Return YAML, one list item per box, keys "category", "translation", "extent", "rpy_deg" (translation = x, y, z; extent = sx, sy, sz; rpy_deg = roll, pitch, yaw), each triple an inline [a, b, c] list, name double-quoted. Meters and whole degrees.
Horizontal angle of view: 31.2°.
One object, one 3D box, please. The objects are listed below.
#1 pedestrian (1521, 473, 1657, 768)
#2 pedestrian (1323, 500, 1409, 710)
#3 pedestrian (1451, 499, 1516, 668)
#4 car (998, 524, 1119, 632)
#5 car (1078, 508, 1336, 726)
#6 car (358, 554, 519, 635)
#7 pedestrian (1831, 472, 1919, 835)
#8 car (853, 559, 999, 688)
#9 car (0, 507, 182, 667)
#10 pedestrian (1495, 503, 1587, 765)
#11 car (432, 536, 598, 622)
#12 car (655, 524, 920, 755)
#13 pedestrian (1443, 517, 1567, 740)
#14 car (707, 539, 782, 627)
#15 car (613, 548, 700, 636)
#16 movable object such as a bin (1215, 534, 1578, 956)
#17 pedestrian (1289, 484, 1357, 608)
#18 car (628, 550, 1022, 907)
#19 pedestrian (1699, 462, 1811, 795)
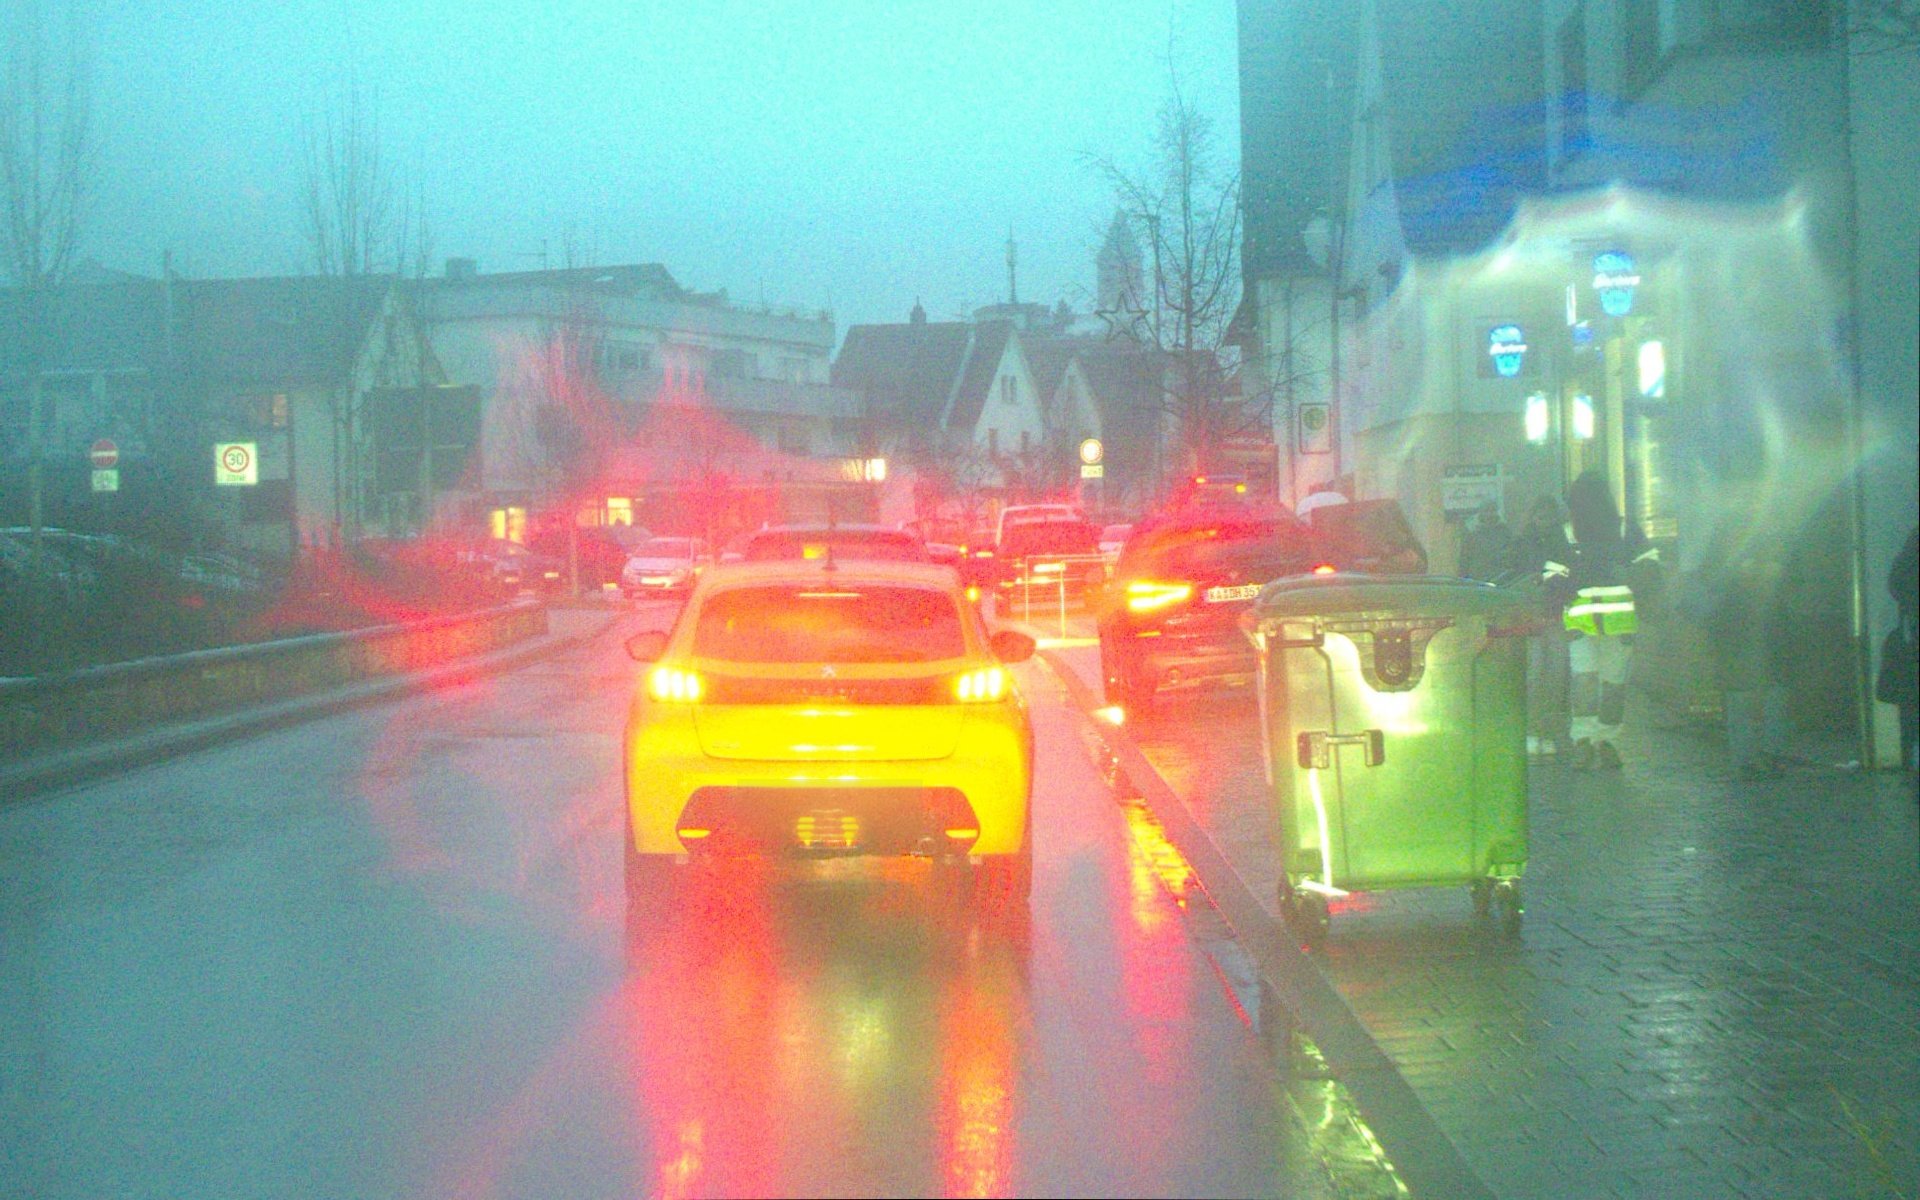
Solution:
- category: "pedestrian"
  translation: [3.779, 0.105, 20.616]
  extent: [0.712, 1.709, 1.034]
  rpy_deg: [-2, 1, 13]
- category: "pedestrian"
  translation: [3.345, 0.037, 28.358]
  extent: [0.573, 1.694, 0.653]
  rpy_deg: [-2, 0, 1]
- category: "pedestrian"
  translation: [5.385, -0.166, 35.349]
  extent: [0.618, 1.721, 0.501]
  rpy_deg: [0, -2, 11]
- category: "car"
  translation: [1.724, -0.388, 61.242]
  extent: [1.997, 1.858, 4.083]
  rpy_deg: [0, 0, 0]
- category: "car"
  translation: [2.017, 0.104, 29.179]
  extent: [1.735, 1.686, 4.386]
  rpy_deg: [-1, 1, -2]
- category: "car"
  translation: [-13.214, -0.123, 87.059]
  extent: [4.166, 1.969, 1.818]
  rpy_deg: [-1, -2, 43]
- category: "pedestrian"
  translation: [4.660, 0.238, 16.429]
  extent: [0.747, 1.673, 1.052]
  rpy_deg: [-2, 0, 5]
- category: "car"
  translation: [-0.390, 0.227, 38.176]
  extent: [1.541, 1.327, 3.311]
  rpy_deg: [1, 1, -1]
- category: "car"
  translation: [-10.810, -0.145, 36.690]
  extent: [4.625, 1.662, 2.000]
  rpy_deg: [0, 0, -3]
- category: "pedestrian"
  translation: [3.724, 0.201, 21.985]
  extent: [0.480, 1.625, 1.018]
  rpy_deg: [-2, 1, 13]
- category: "car"
  translation: [-11.744, -0.521, 90.591]
  extent: [4.383, 2.159, 1.995]
  rpy_deg: [-1, -2, 43]
- category: "car"
  translation: [-1.255, 0.251, 26.368]
  extent: [1.766, 1.623, 3.586]
  rpy_deg: [1, 1, 1]
- category: "pedestrian"
  translation: [4.080, 0.196, 25.783]
  extent: [0.618, 1.621, 0.907]
  rpy_deg: [-1, 2, -14]
- category: "car"
  translation: [-5.731, -0.419, 91.859]
  extent: [1.919, 2.208, 3.975]
  rpy_deg: [1, -1, -3]
- category: "car"
  translation: [-7.378, -0.174, 83.937]
  extent: [1.919, 2.021, 3.975]
  rpy_deg: [1, -1, -3]
- category: "movable object such as a bin"
  translation: [1.601, 0.504, 12.906]
  extent: [1.129, 1.415, 1.417]
  rpy_deg: [-4, 2, 1]
- category: "pedestrian"
  translation: [4.486, -0.676, 42.503]
  extent: [0.618, 1.510, 0.734]
  rpy_deg: [-1, 2, -14]
- category: "car"
  translation: [-0.563, 0.496, 15.303]
  extent: [1.563, 1.408, 3.018]
  rpy_deg: [1, 1, -1]
- category: "pedestrian"
  translation: [4.390, 0.143, 19.016]
  extent: [0.529, 1.794, 0.864]
  rpy_deg: [1, 1, 9]
